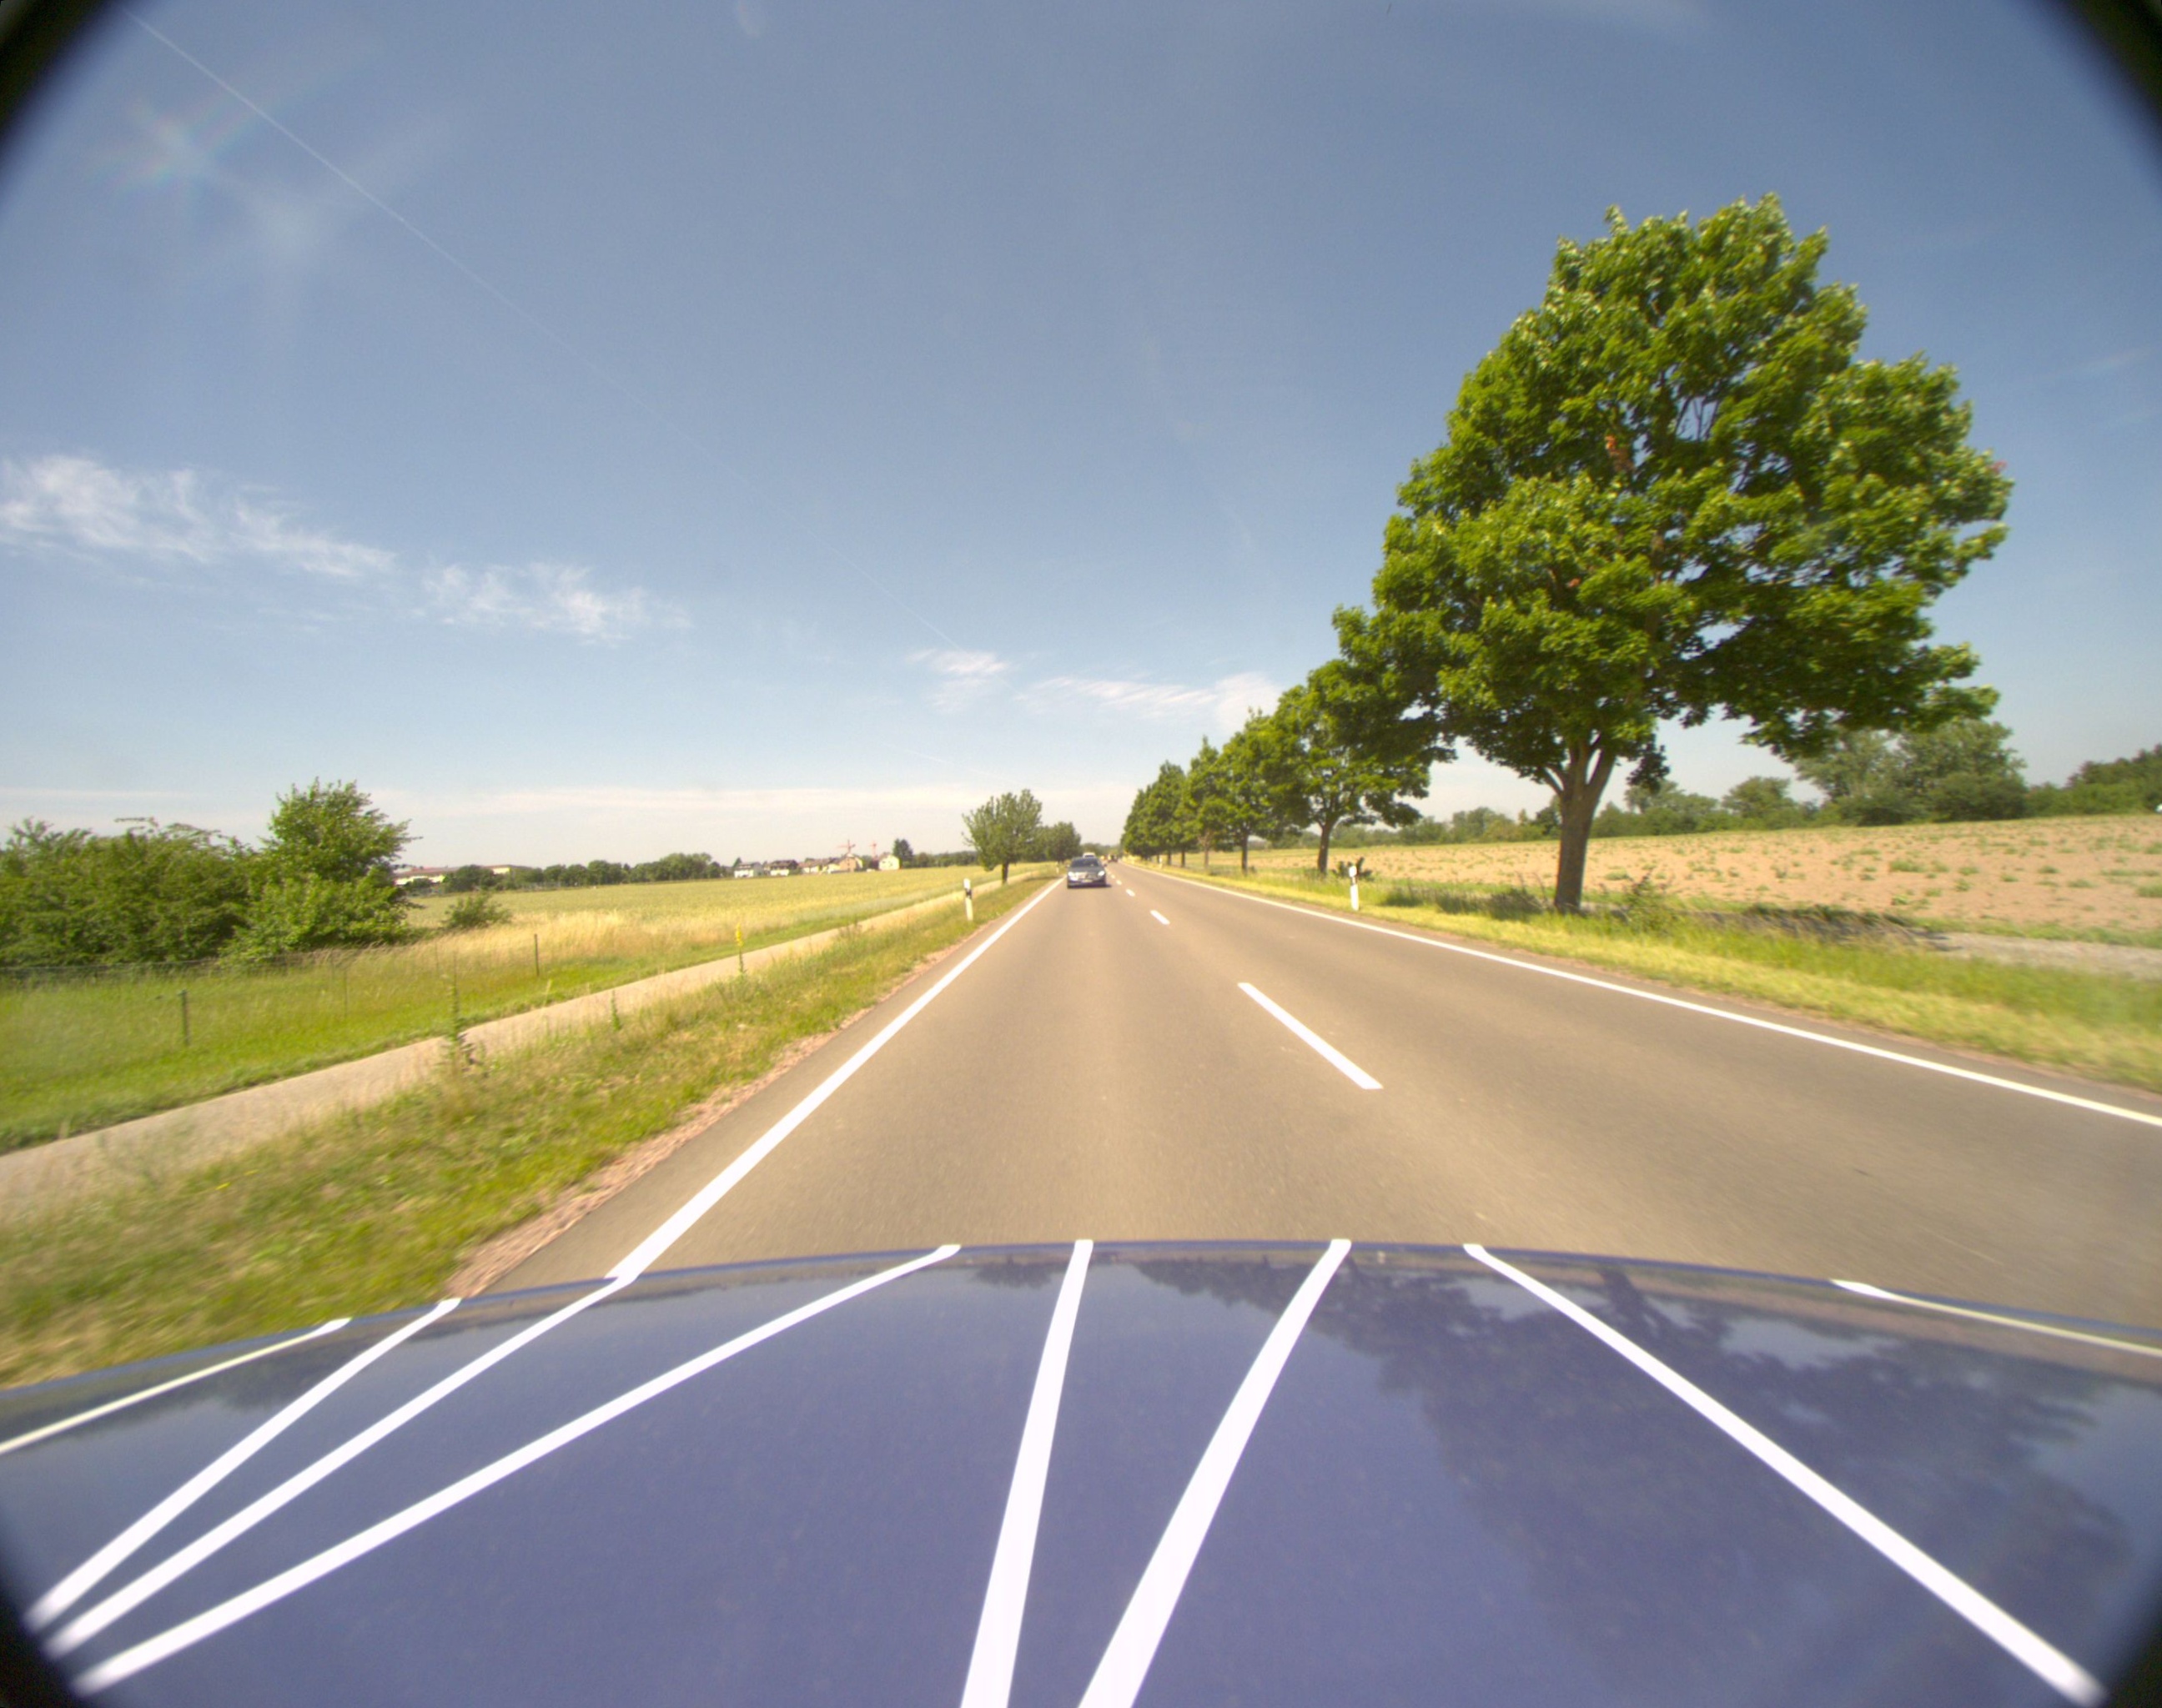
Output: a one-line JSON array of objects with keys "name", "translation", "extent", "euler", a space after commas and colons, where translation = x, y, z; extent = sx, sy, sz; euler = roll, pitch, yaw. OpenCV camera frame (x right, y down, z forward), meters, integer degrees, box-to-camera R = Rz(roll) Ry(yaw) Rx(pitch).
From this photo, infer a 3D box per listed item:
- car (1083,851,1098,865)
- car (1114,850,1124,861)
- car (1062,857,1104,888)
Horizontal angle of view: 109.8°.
[{"name": "car", "translation": [1.379, 0.526, 110.314], "extent": [1.998, 1.907, 4.207], "euler": [-3, 0, 3]}, {"name": "car", "translation": [7.157, 0.263, 143.637], "extent": [1.685, 1.838, 4.000], "euler": [-3, 0, 1]}, {"name": "car", "translation": [0.150, 0.858, 37.441], "extent": [1.953, 1.390, 4.000], "euler": [-1, 0, 2]}]
